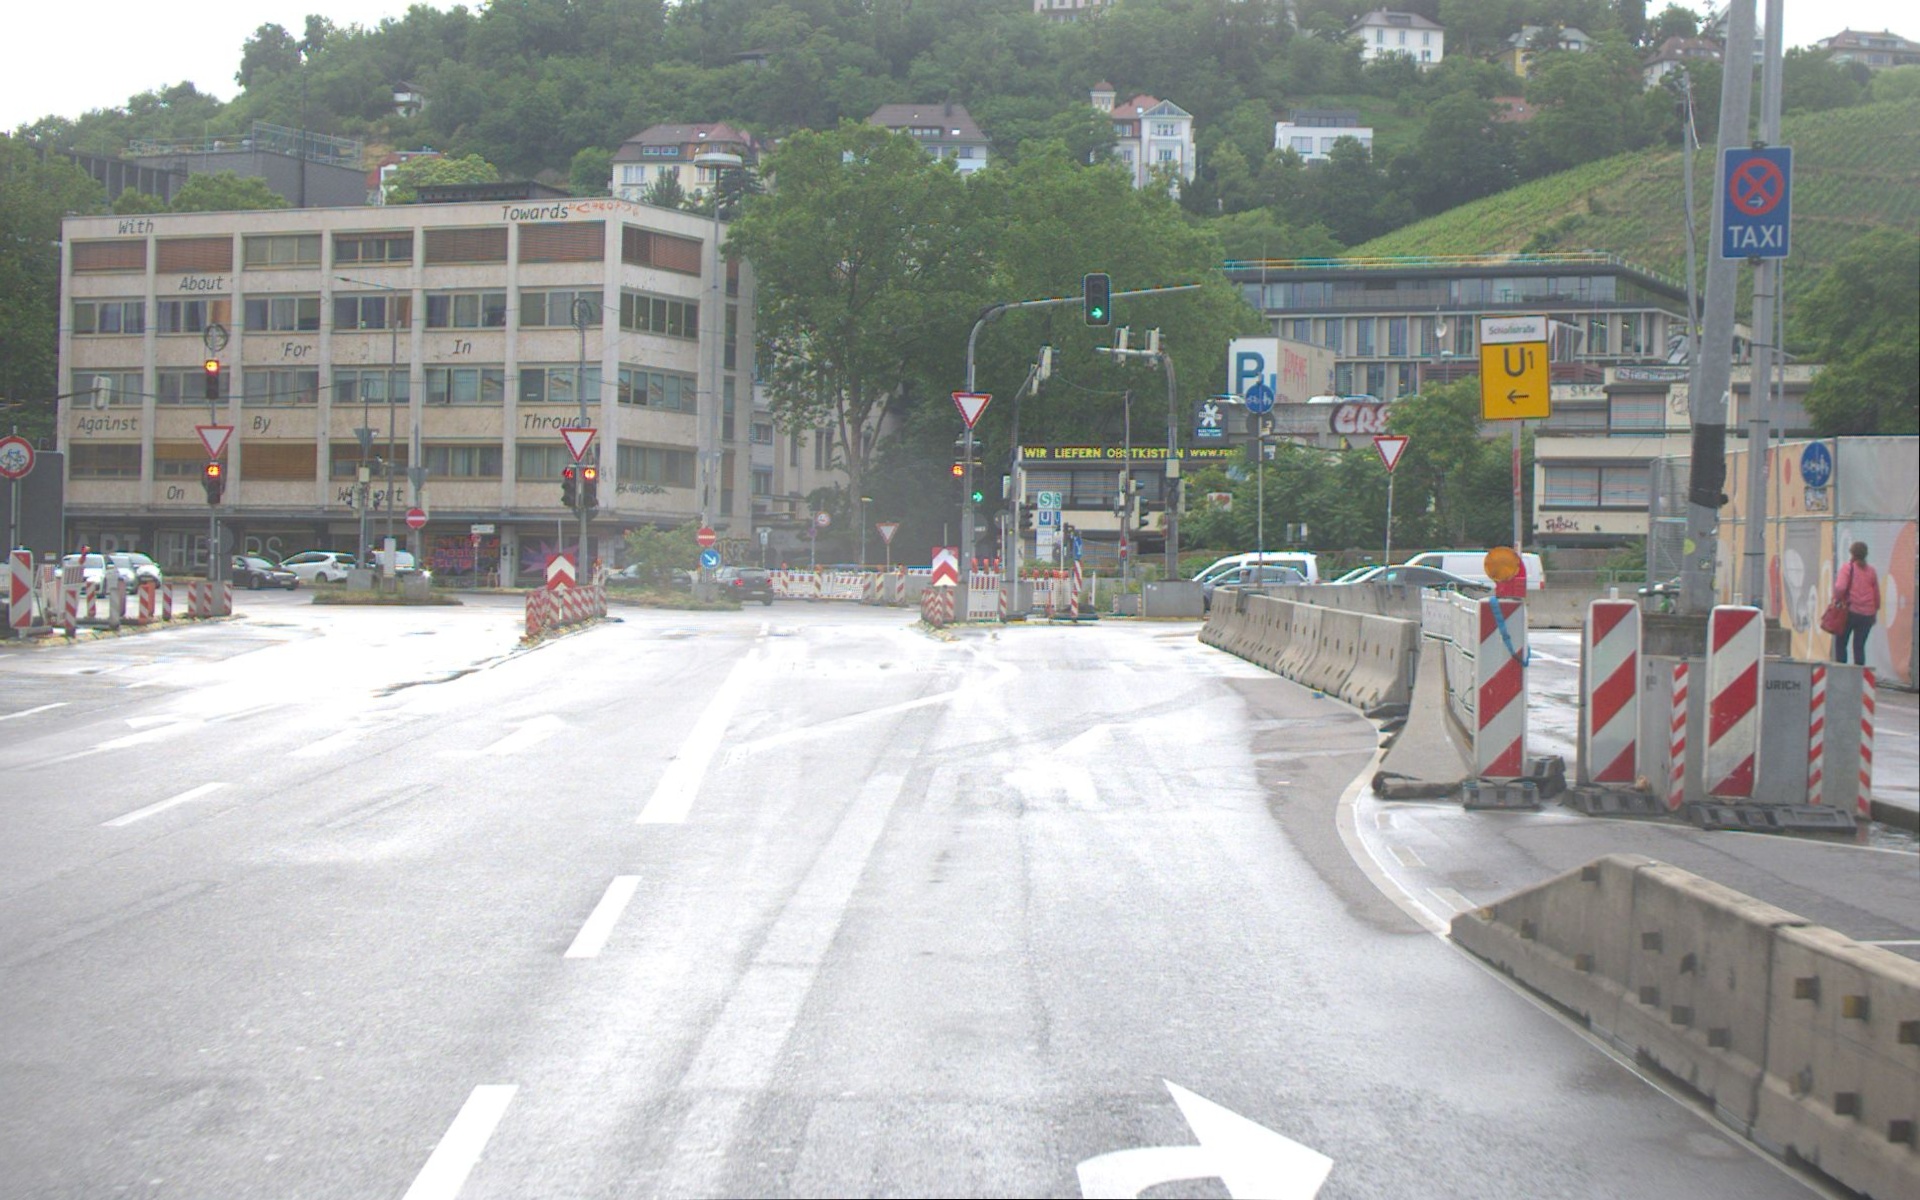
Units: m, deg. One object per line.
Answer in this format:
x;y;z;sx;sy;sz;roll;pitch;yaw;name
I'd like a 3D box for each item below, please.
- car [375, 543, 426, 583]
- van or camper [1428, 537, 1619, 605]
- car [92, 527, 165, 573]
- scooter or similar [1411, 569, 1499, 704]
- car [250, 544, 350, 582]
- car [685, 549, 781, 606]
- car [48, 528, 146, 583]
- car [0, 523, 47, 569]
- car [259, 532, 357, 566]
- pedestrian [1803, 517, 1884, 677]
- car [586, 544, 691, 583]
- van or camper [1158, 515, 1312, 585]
-21.100;-1.403;129.586;1.830;1.481;4.001;1;1;-10;car
16.485;-0.857;100.665;5.195;1.887;1.888;1;1;-3;van or camper
-33.845;-2.041;139.941;1.800;1.809;4.000;1;1;-30;car
4.633;0.325;32.237;0.675;1.210;1.571;1;1;4;scooter or similar
-27.005;-1.504;140.677;3.996;1.481;1.832;2;1;38;car
-8.391;-0.834;126.972;1.993;2.007;4.001;1;1;-29;car
-28.532;-1.459;113.784;2.222;1.747;4.813;1;0;-2;car
-38.326;-2.176;136.776;3.996;1.809;1.802;2;1;38;car
-29.516;-2.307;155.629;4.070;1.486;1.733;1;1;25;car
10.461;-0.041;40.730;0.719;1.860;0.709;1;1;-3;pedestrian
-13.042;-1.484;139.464;4.072;1.486;1.732;2;1;35;car
8.045;-1.468;100.814;4.241;1.972;1.851;1;1;-3;van or camper
